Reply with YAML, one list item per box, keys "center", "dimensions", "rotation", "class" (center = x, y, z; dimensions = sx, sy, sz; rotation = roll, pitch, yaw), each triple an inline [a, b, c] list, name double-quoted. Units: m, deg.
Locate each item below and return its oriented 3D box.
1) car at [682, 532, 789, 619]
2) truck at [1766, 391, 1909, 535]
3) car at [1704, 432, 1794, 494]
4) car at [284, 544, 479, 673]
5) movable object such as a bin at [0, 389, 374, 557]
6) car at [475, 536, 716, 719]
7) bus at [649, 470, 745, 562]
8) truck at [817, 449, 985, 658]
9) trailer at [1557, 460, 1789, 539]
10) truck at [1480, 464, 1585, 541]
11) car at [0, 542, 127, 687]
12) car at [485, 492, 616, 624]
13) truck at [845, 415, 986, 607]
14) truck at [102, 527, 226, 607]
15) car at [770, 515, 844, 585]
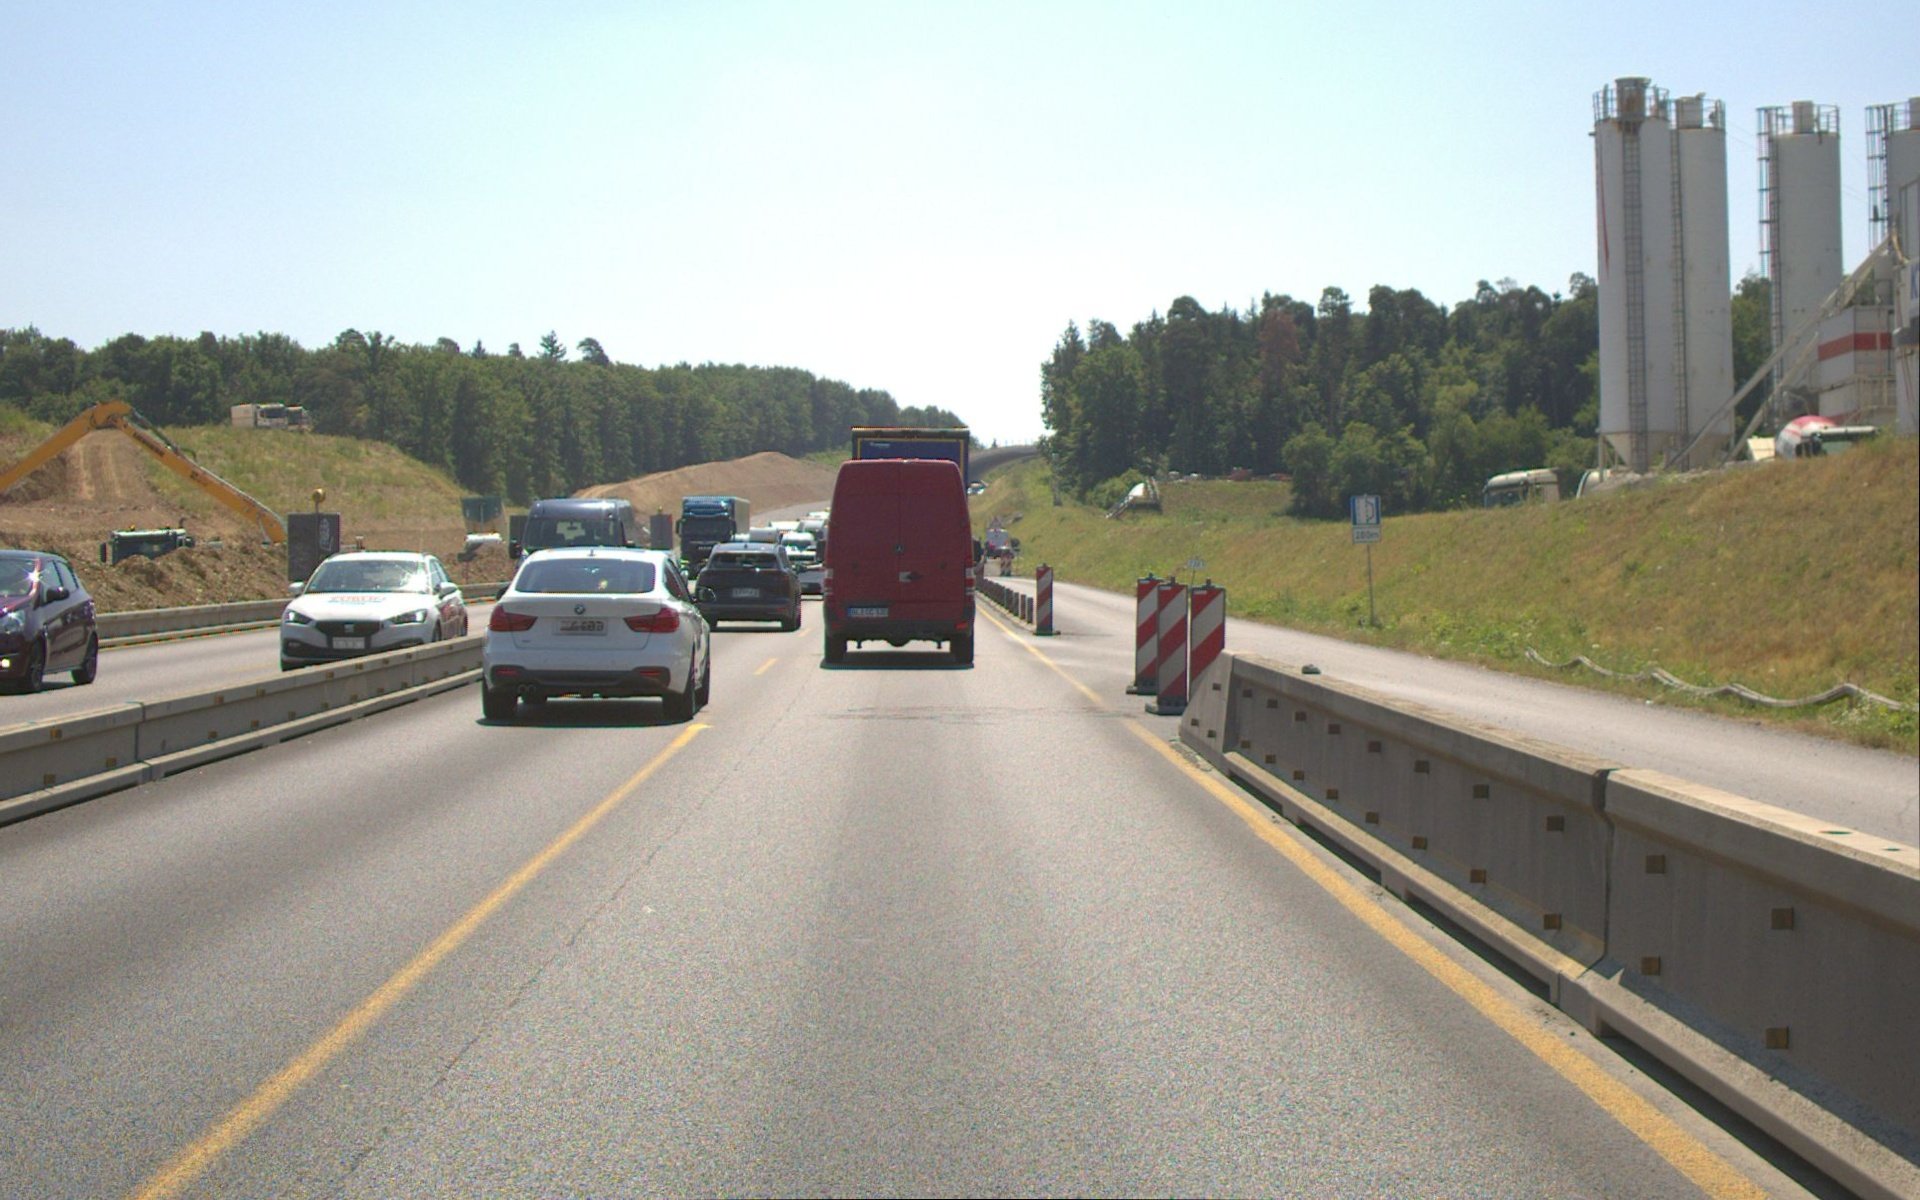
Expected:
- center: [-4.104, -0.478, 63.236]
  dimensions: [1.795, 1.529, 3.931]
  rotation: [-1, 1, -1]
  class: "car"
- center: [27.534, -4.207, 108.249]
  dimensions: [3.437, 4.281, 9.924]
  rotation: [0, 1, 9]
  class: "truck"
- center: [26.837, -4.652, 117.048]
  dimensions: [1.993, 2.007, 4.428]
  rotation: [-1, 1, -1]
  class: "car"
- center: [-6.863, 0.059, 41.174]
  dimensions: [1.678, 1.437, 4.672]
  rotation: [-1, 1, -2]
  class: "car"
- center: [-35.535, -5.575, 151.695]
  dimensions: [18.709, 7.206, 3.616]
  rotation: [-1, 1, -2]
  class: "movable object such as a bin"
- center: [-3.253, 0.193, 31.514]
  dimensions: [1.795, 1.529, 5.074]
  rotation: [0, 1, -2]
  class: "car"
- center: [-13.220, -4.220, 174.361]
  dimensions: [3.942, 4.400, 17.202]
  rotation: [-1, 1, -1]
  class: "bus"
- center: [-0.748, -0.648, 46.814]
  dimensions: [2.111, 2.624, 6.484]
  rotation: [-1, 1, 0]
  class: "truck"
- center: [29.951, -4.215, 144.561]
  dimensions: [8.993, 3.218, 3.332]
  rotation: [-1, 1, -15]
  class: "trailer"
- center: [23.843, -4.019, 142.921]
  dimensions: [2.899, 3.102, 6.005]
  rotation: [0, 1, 24]
  class: "truck"
- center: [-10.178, 0.115, 36.480]
  dimensions: [1.652, 1.437, 4.227]
  rotation: [-1, 1, 0]
  class: "car"
- center: [-7.962, -0.843, 67.310]
  dimensions: [1.955, 2.459, 5.358]
  rotation: [-1, 1, -1]
  class: "car"
- center: [-0.969, -2.005, 78.859]
  dimensions: [3.015, 4.138, 8.273]
  rotation: [-1, 1, 0]
  class: "truck"
- center: [-26.893, -1.149, 116.492]
  dimensions: [2.315, 2.608, 8.411]
  rotation: [-1, 1, -1]
  class: "truck"
- center: [-4.439, -1.464, 100.117]
  dimensions: [1.993, 2.007, 4.000]
  rotation: [-1, 1, 0]
  class: "car"
